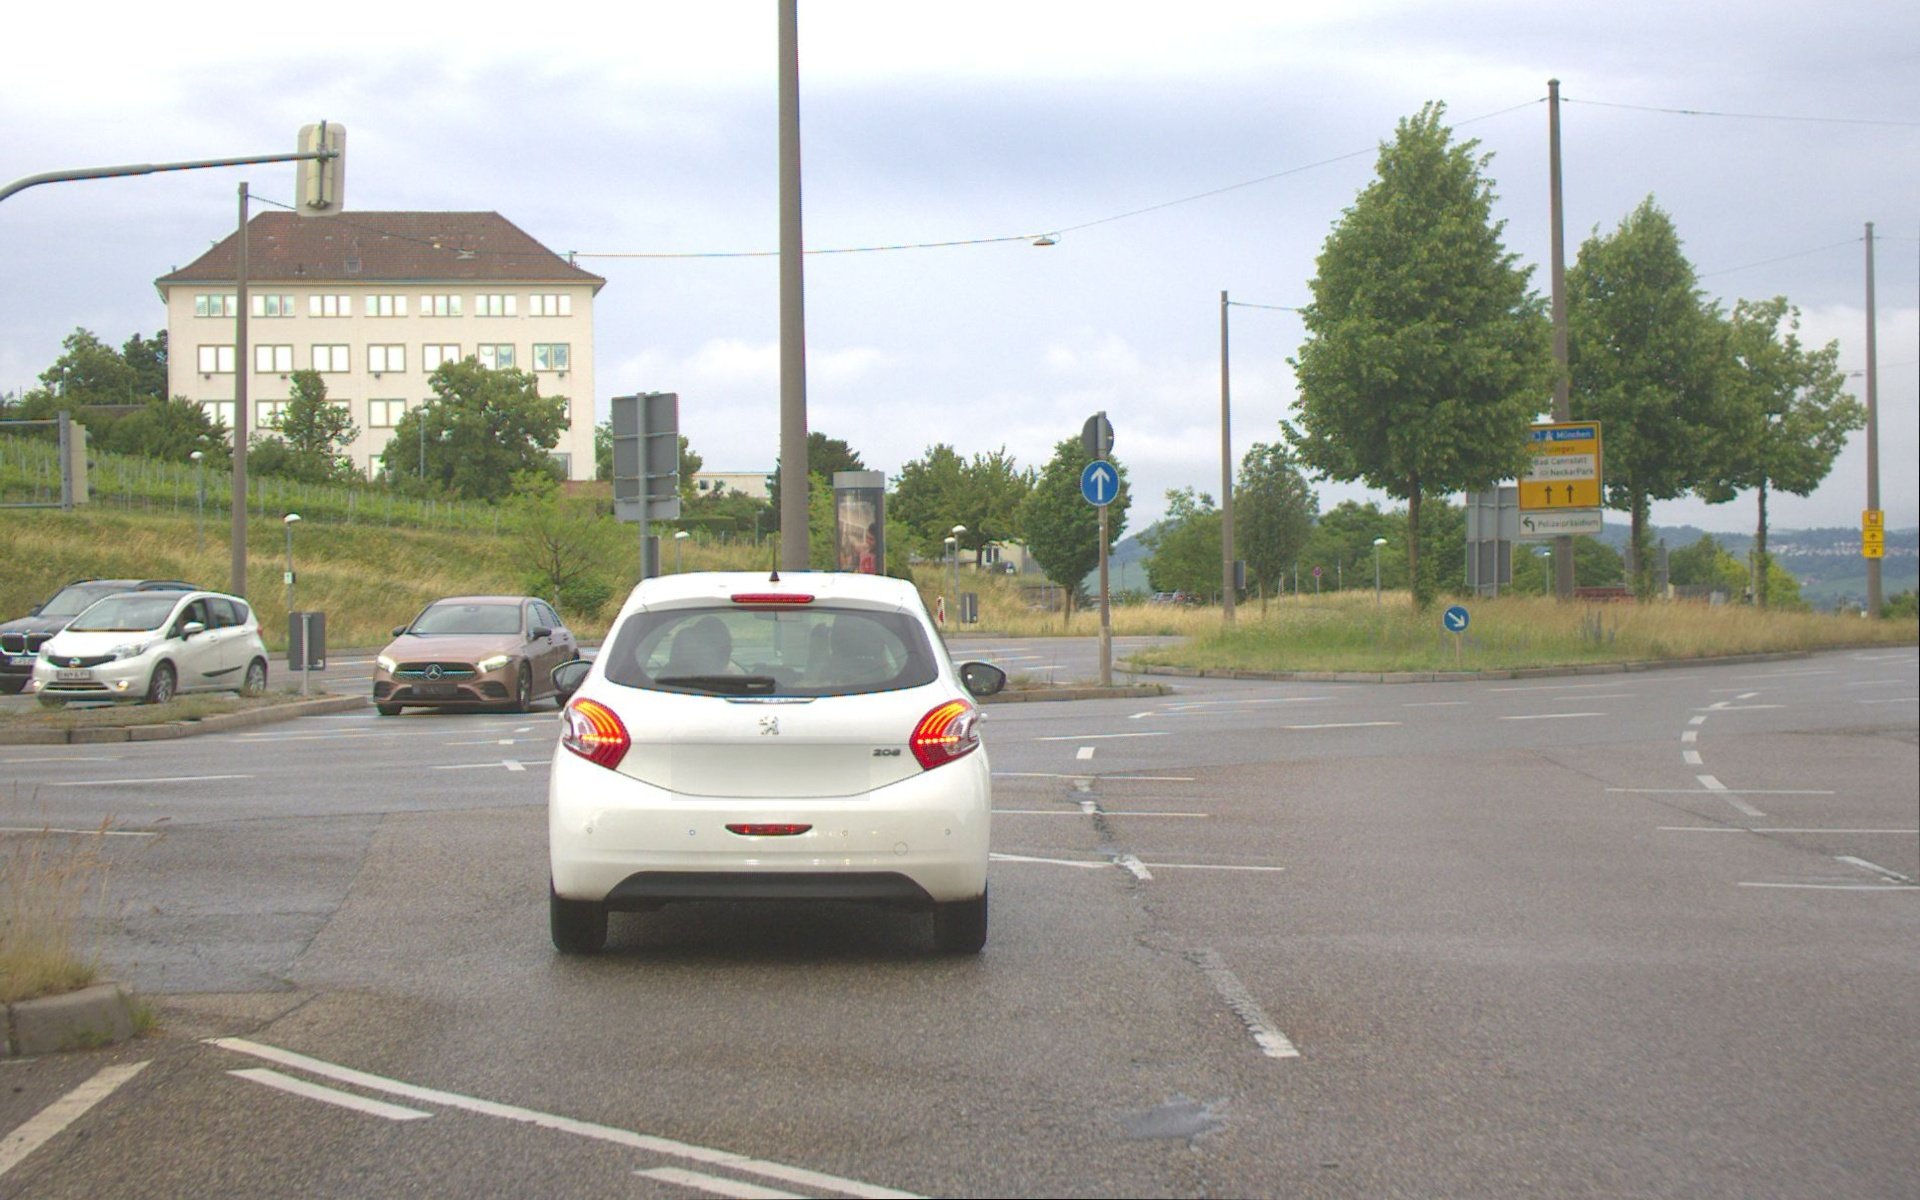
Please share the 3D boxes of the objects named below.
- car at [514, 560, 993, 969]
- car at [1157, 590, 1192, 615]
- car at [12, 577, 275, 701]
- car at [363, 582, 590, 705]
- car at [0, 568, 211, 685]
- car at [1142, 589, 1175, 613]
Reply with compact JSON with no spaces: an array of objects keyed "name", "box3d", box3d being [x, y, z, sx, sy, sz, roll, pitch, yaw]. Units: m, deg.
[{"name":"car","box3d":[-0.733,0.584,14.493,1.718,1.484,4.000,0,0,1]},{"name":"car","box3d":[13.514,0.129,216.747,1.841,1.481,4.000,-1,1,-1]},{"name":"car","box3d":[-10.575,0.484,44.805,1.752,1.507,3.998,1,0,12]},{"name":"car","box3d":[-5.921,0.504,42.583,1.776,1.420,4.373,-1,0,6]},{"name":"car","box3d":[-12.890,0.367,50.778,1.777,1.630,4.506,1,0,13]},{"name":"car","box3d":[12.993,0.071,225.144,1.841,1.481,4.000,-1,1,-1]}]
